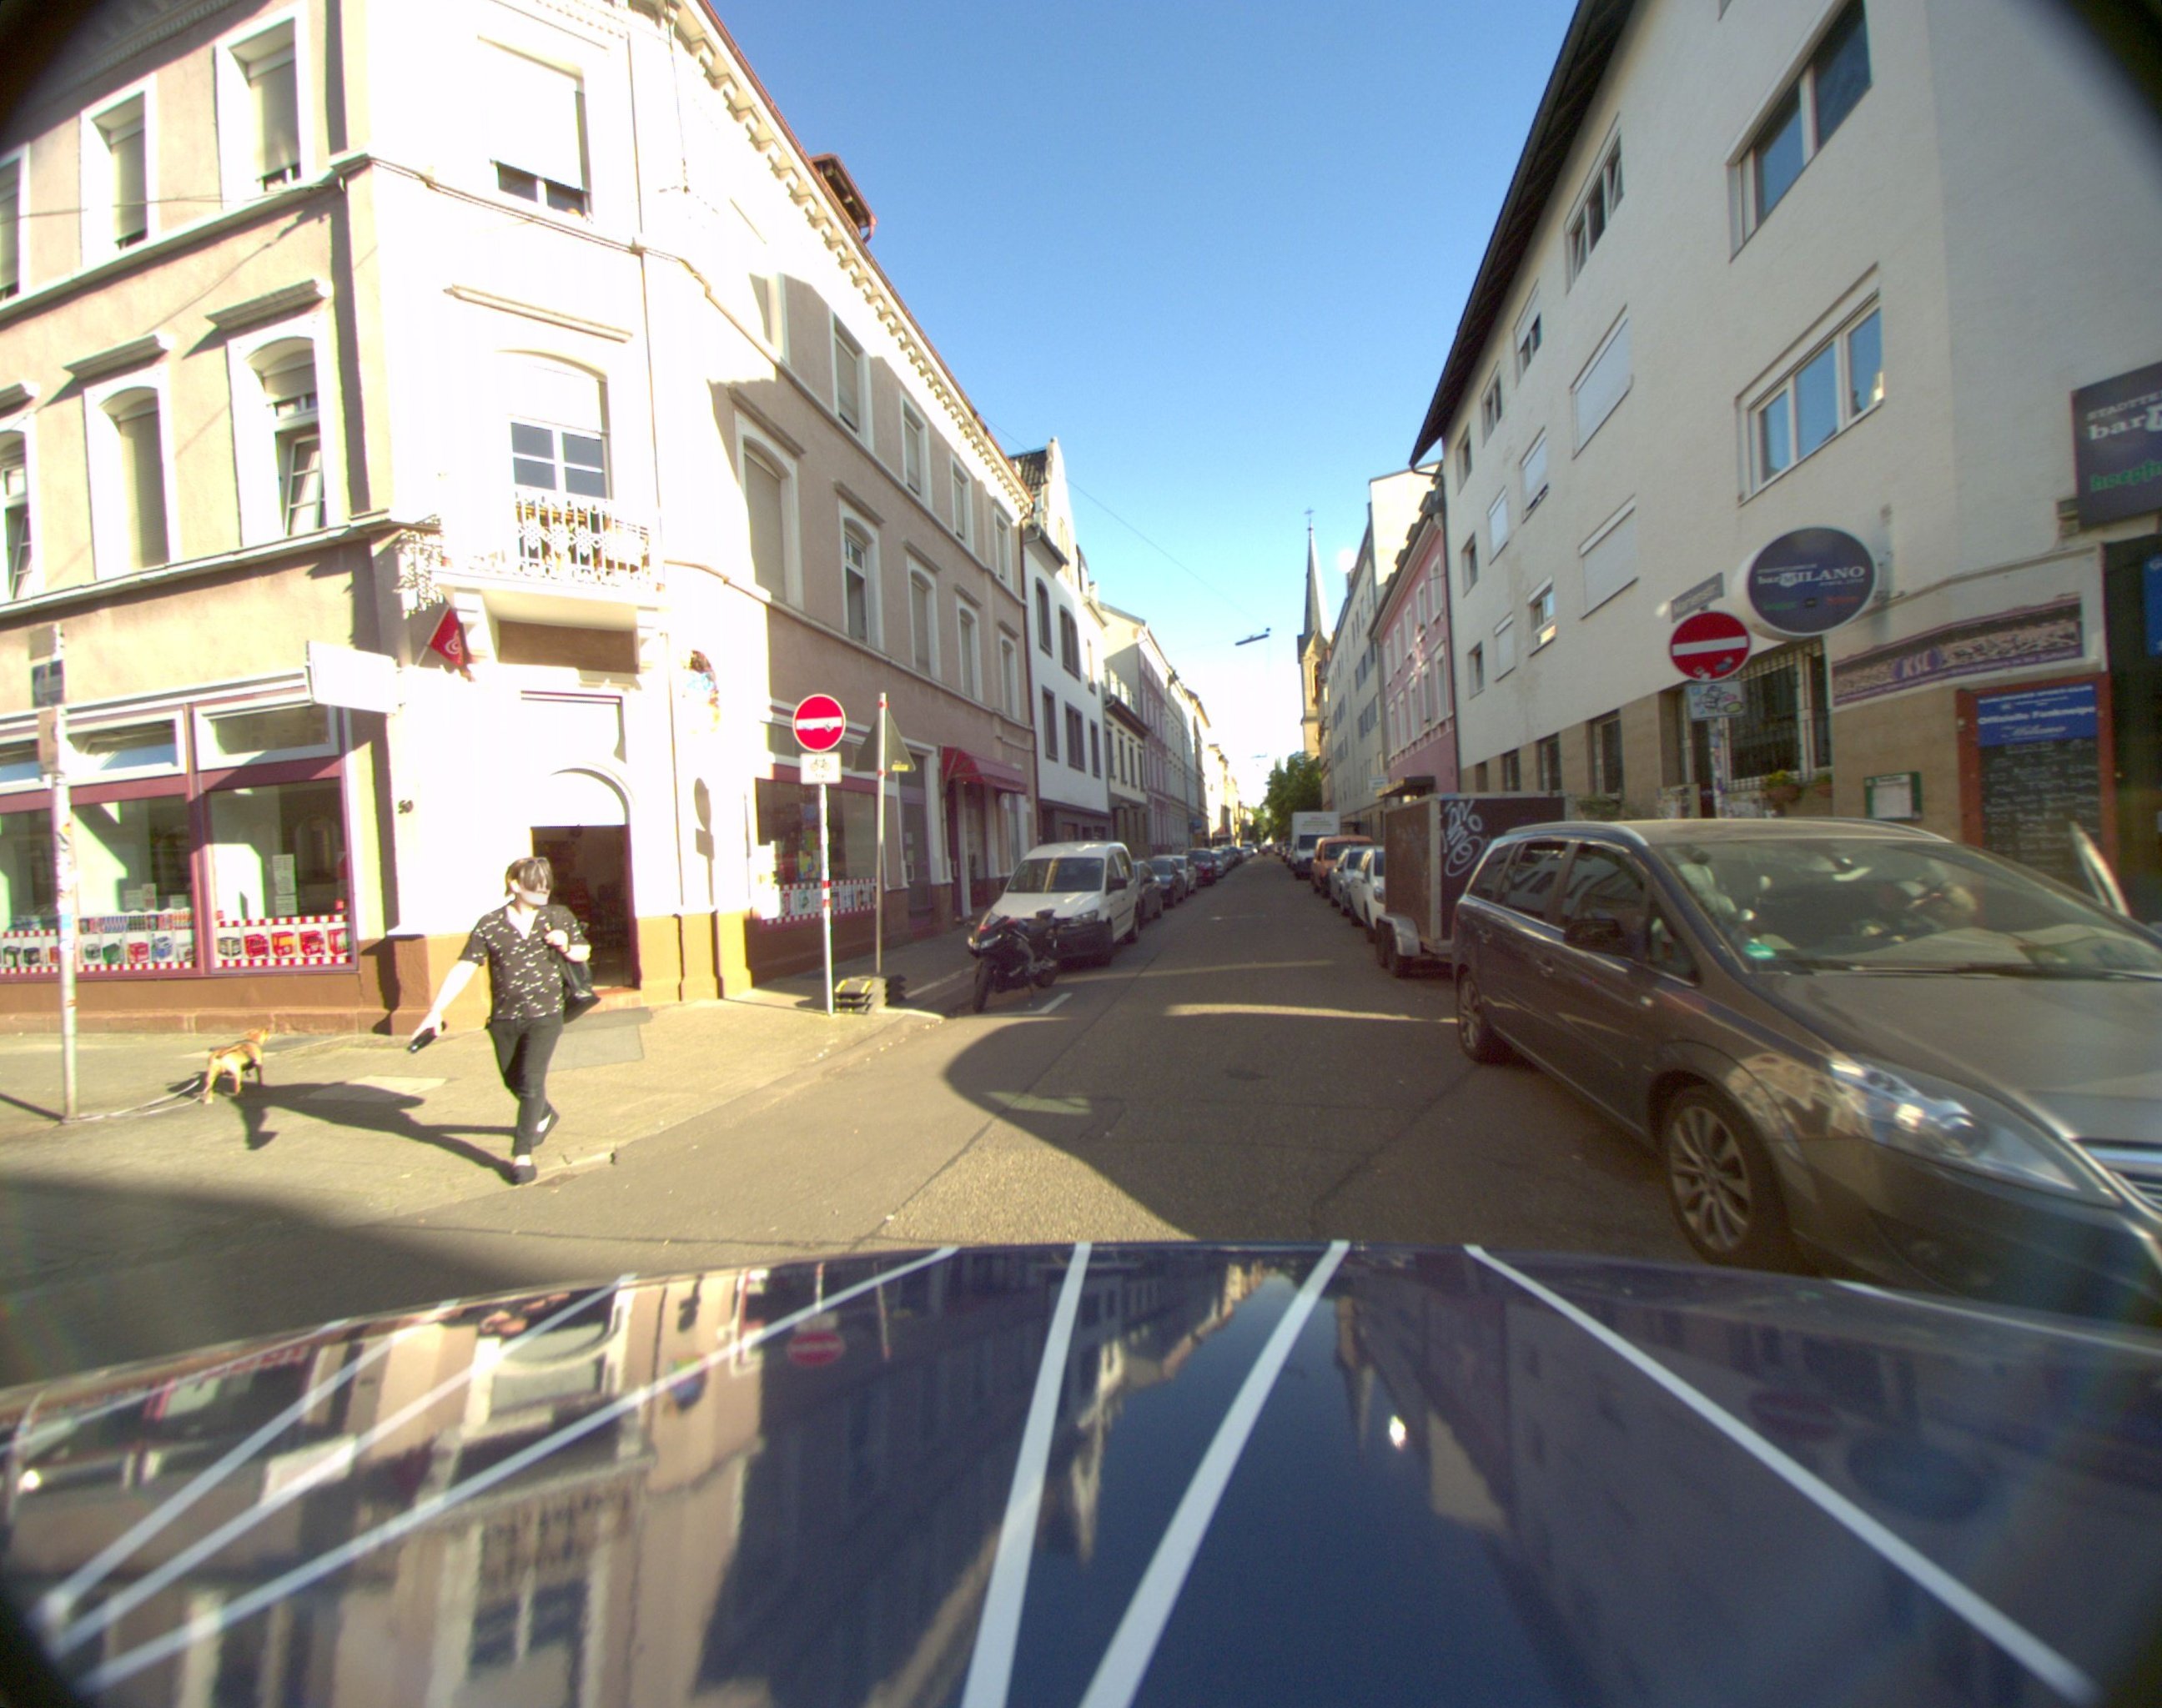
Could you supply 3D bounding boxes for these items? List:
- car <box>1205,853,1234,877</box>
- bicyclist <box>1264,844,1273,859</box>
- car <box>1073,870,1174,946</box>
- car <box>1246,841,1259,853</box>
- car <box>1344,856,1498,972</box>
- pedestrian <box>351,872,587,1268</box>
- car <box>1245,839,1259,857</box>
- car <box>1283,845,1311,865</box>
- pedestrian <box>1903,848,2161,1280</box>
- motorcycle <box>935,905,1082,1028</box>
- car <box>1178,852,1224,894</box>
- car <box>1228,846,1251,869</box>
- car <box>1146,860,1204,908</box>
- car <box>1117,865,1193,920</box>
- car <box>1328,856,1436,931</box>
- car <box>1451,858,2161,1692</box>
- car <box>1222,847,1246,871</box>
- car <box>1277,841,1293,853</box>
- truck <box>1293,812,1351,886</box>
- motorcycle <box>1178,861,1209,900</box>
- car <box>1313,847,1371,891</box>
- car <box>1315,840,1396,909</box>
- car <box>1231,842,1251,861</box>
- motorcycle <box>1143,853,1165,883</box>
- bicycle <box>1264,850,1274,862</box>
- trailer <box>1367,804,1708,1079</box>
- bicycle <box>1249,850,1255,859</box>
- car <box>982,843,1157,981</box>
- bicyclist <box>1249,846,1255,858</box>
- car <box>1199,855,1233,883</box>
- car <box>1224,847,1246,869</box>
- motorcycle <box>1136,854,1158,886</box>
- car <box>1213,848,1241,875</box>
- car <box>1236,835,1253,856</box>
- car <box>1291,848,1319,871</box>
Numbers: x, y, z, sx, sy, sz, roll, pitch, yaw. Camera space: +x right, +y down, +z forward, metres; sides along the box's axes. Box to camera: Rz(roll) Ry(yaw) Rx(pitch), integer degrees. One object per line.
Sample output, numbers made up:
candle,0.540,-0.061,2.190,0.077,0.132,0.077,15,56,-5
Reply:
car,9.058,0.689,49.448,1.611,1.444,3.885,-1,1,14
bicyclist,28.341,-0.386,114.957,1.019,2.280,1.533,-4,1,9
car,1.105,1.163,17.681,1.611,1.400,3.885,-1,1,14
car,32.288,-1.387,143.075,1.997,2.002,4.567,-4,0,11
car,5.519,0.874,12.788,1.679,1.546,3.821,-1,1,14
pedestrian,-3.223,1.013,4.129,0.830,1.782,0.987,-2,2,-32
car,29.095,-1.001,129.227,1.997,2.777,4.567,-4,0,11
car,19.518,0.057,68.849,1.925,1.522,4.567,-4,0,11
pedestrian,4.145,0.824,3.232,0.579,1.635,0.631,-4,2,14
motorcycle,-0.767,1.229,8.816,0.719,1.080,1.999,-3,1,25
car,5.658,0.835,35.442,1.711,1.721,4.411,-1,1,14
car,15.574,0.330,74.578,1.997,2.002,4.567,-4,0,12
car,3.488,1.048,27.750,1.618,1.495,3.776,-1,1,14
car,2.336,1.105,23.045,1.734,1.388,3.885,-1,1,14
car,6.782,0.804,17.549,1.676,1.488,4.536,-1,0,14
car,3.164,0.860,3.434,1.724,1.596,4.170,-2,0,12
car,12.272,0.376,60.893,1.711,1.721,4.224,-1,1,14
car,30.106,-1.061,112.191,1.925,1.522,4.567,-4,0,11
truck,11.531,-0.293,36.798,2.294,3.165,7.051,-2,1,15
motorcycle,4.680,1.077,31.468,0.989,1.481,2.269,-1,1,14
car,9.768,0.526,28.634,1.685,1.458,3.663,-2,1,14
car,8.111,0.535,22.786,1.805,1.834,4.248,-2,1,14
car,18.268,-0.304,87.018,1.997,2.002,4.567,-4,0,11
motorcycle,3.695,0.690,38.224,0.696,1.388,2.039,-4,0,14
bicycle,28.412,0.280,114.983,1.019,1.641,3.550,-4,0,9
trailer,4.256,0.631,7.936,1.664,2.049,4.367,-2,1,11
bicycle,25.425,0.061,112.805,0.728,1.173,2.491,-4,0,12
car,0.035,0.761,12.368,1.751,1.806,4.373,-1,1,14
bicyclist,25.407,-0.308,112.862,0.715,1.650,0.878,-4,1,12
car,7.712,0.807,43.182,1.611,1.388,3.885,-1,1,14
car,13.404,0.300,66.068,1.711,1.802,4.224,-1,1,14
motorcycle,3.141,0.738,36.065,0.666,1.388,2.039,-4,0,14
car,10.503,0.507,54.345,1.711,1.721,4.224,-1,1,14
car,22.389,-1.174,104.013,1.997,2.777,4.567,-4,0,11
car,15.447,0.326,52.508,1.685,1.482,3.918,0,1,14
